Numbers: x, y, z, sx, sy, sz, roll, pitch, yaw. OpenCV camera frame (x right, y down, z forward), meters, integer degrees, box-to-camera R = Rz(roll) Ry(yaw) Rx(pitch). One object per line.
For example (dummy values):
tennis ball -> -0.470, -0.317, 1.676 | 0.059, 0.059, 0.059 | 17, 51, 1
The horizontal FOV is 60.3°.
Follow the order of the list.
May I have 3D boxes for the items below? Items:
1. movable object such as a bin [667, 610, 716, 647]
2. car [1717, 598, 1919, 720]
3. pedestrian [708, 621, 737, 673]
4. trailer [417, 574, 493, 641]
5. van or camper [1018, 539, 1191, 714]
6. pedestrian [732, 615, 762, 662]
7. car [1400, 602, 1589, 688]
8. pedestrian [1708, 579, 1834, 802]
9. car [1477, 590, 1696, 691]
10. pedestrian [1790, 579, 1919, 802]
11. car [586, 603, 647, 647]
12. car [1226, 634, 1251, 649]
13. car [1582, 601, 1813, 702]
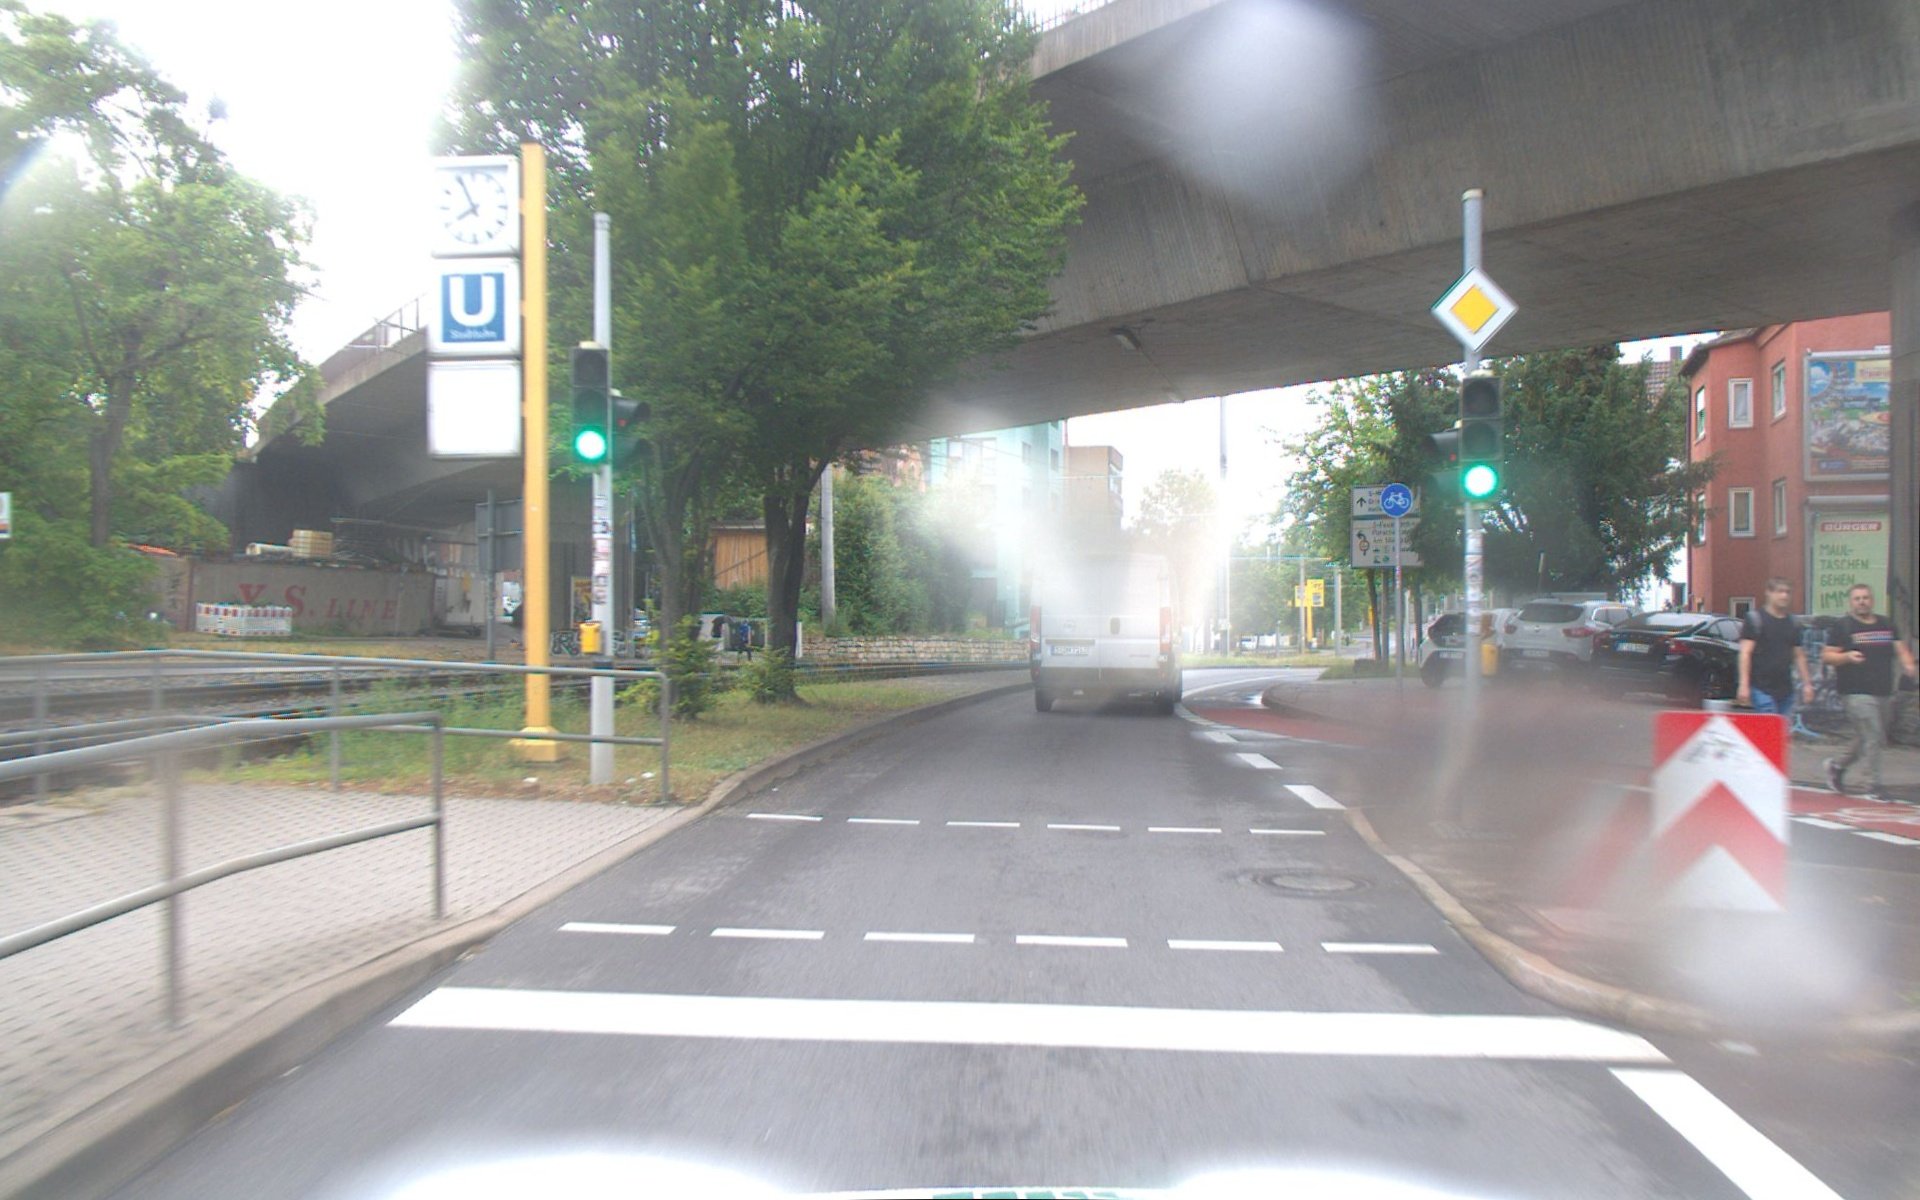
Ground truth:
movable object such as a bin -> -11.762, 1.255, 72.438 | 1.542, 1.505, 1.782 | 2, 0, -33
car -> 12.826, 0.868, 23.796 | 3.957, 1.599, 1.880 | 3, -2, -37
pedestrian -> -8.700, 1.714, 60.585 | 0.679, 1.863, 0.866 | 1, -1, 22
trailer -> -22.046, 0.331, 72.124 | 1.977, 2.773, 4.073 | 2, -1, -35
van or camper -> 2.283, 0.414, 24.825 | 2.152, 2.292, 4.687 | 2, -1, 9
pedestrian -> -7.760, 1.397, 60.261 | 0.679, 1.699, 0.887 | 1, -1, 25
car -> 10.285, 0.853, 31.723 | 3.700, 1.548, 1.777 | 2, -1, -40
pedestrian -> 6.981, 0.768, 14.261 | 0.613, 1.840, 0.835 | 2, -1, -3
car -> 11.126, 0.709, 29.266 | 3.985, 1.659, 1.939 | 2, -1, -40
pedestrian -> 7.795, 0.767, 14.347 | 0.587, 1.854, 0.906 | 3, -1, -13
car -> -15.043, 1.090, 72.360 | 1.695, 1.696, 3.167 | 3, 0, -29
car -> 29.465, 4.415, 174.918 | 1.952, 1.467, 4.000 | 2, -1, 20
car -> 11.706, 0.791, 26.164 | 4.011, 1.465, 1.761 | 1, 0, -40
